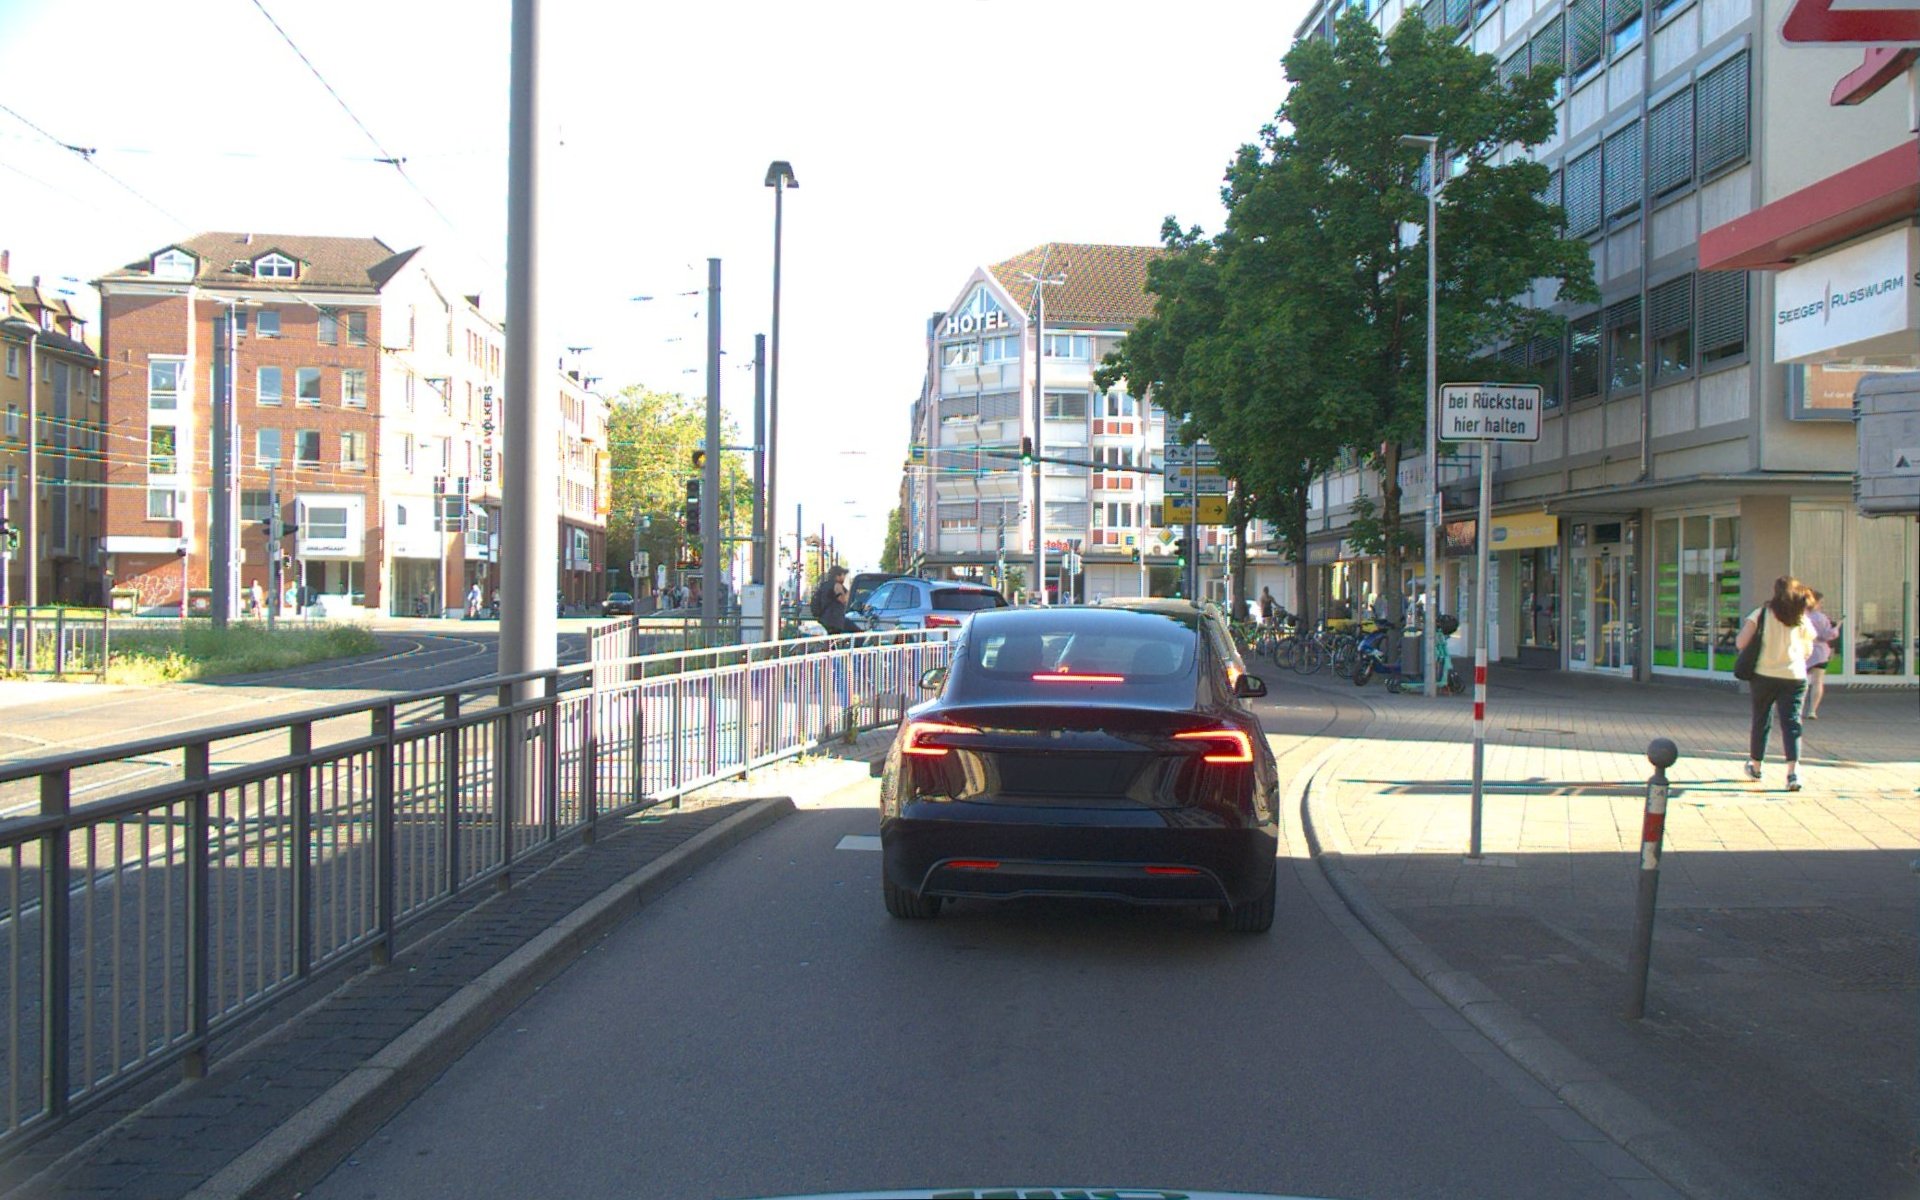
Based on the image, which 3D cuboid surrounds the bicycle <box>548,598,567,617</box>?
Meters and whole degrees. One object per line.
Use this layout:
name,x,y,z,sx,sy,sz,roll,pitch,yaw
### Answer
bicycle,-23.923,0.446,98.386,0.449,1.112,2.202,1,0,3

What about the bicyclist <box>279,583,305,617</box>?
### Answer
bicyclist,-29.744,-0.008,73.622,0.689,1.496,0.973,0,0,7

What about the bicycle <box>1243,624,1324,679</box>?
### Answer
bicycle,6.705,1.069,34.302,1.620,1.118,0.349,1,-1,-11

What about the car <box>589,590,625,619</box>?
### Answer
car,-22.555,0.282,105.725,1.663,1.762,3.704,1,0,-3

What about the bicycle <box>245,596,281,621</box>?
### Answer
bicycle,-28.392,0.328,67.403,0.513,0.988,2.246,1,0,-1

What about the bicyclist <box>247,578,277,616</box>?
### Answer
bicyclist,-28.399,-0.103,67.318,0.880,1.529,0.696,1,-1,-1

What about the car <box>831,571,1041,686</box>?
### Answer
car,-0.476,0.425,26.512,1.859,1.691,4.125,1,0,-25

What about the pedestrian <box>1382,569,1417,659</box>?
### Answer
pedestrian,10.127,0.326,38.107,0.648,2.049,0.579,1,-1,1

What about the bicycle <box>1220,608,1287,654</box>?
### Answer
bicycle,7.358,0.776,41.482,1.616,1.118,0.350,0,0,1

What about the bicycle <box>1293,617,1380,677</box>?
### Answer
bicycle,7.276,0.909,31.965,1.620,1.118,0.349,1,-1,-11

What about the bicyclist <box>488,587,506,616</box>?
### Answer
bicyclist,-26.115,0.083,93.274,0.768,1.590,0.746,0,0,0

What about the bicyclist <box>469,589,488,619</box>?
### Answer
bicyclist,-25.833,0.192,88.676,0.767,1.590,0.746,1,-1,1

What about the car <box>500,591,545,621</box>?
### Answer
car,-23.398,0.309,88.580,1.677,1.553,4.031,1,0,-5

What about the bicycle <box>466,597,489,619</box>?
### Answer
bicycle,-25.885,0.429,88.723,0.526,1.107,2.225,1,0,1

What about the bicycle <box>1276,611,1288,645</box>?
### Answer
bicycle,10.153,0.890,52.178,0.325,1.052,1.257,1,0,9

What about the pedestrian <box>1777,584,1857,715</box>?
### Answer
pedestrian,11.389,0.645,22.000,0.871,1.696,0.808,1,-1,23

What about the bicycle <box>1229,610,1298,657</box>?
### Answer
bicycle,7.424,0.819,40.437,1.616,1.118,0.350,1,-1,1

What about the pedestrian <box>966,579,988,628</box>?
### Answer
pedestrian,0.726,0.159,70.097,0.902,2.049,0.972,1,-1,-1

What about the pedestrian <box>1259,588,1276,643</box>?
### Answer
pedestrian,9.815,0.491,52.747,0.515,1.740,0.404,1,-1,12

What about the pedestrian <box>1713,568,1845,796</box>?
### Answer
pedestrian,6.714,0.637,13.616,0.895,1.783,1.038,0,0,22

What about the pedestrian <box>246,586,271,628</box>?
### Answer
pedestrian,-31.944,0.318,75.325,0.767,1.852,0.746,1,-1,1

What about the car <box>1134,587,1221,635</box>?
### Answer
car,7.849,0.395,59.431,1.787,1.643,3.819,1,0,30

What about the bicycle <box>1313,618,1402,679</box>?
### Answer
bicycle,7.476,0.917,31.123,1.620,1.118,0.349,1,-1,-11

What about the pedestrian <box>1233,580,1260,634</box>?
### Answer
pedestrian,9.088,0.220,52.520,0.685,1.691,0.777,1,-1,-1

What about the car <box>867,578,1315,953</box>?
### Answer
car,0.670,0.676,8.712,1.791,1.481,4.002,1,0,4

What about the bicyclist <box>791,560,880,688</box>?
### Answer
bicyclist,-1.674,0.315,22.164,0.753,1.657,0.964,1,-1,-39

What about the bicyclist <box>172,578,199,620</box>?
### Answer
bicyclist,-28.274,-0.029,60.403,0.620,1.529,0.696,1,-1,-1

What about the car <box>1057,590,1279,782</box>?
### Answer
car,1.829,0.663,15.008,1.714,1.480,4.003,1,0,6

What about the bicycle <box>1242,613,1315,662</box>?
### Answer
bicycle,7.379,0.865,38.396,1.616,1.118,0.350,1,-1,1

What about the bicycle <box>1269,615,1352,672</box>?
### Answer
bicycle,7.092,0.886,33.490,1.620,1.118,0.349,1,-1,-11

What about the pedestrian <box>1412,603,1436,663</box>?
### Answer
pedestrian,10.657,0.745,37.989,0.381,1.367,0.513,1,-1,1

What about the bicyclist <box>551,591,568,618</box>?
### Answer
bicyclist,-23.892,0.260,98.658,0.769,1.554,0.589,1,-1,3

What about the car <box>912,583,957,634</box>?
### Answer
car,-0.949,0.328,61.649,1.566,1.809,3.980,1,0,-1

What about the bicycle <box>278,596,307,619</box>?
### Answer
bicycle,-29.707,0.335,73.596,0.396,0.998,1.695,1,0,7

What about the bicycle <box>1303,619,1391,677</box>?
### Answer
bicycle,7.380,0.909,31.543,1.620,1.079,0.349,1,-1,-11

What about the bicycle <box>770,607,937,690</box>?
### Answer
bicycle,-1.422,0.652,22.403,2.313,1.072,0.622,1,-1,-39

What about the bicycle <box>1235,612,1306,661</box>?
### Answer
bicycle,7.395,0.866,39.423,1.616,1.118,0.350,1,-1,1

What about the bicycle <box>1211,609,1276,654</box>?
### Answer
bicycle,7.288,0.801,42.574,1.616,1.118,0.350,1,-1,1

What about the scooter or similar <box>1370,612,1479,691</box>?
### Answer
scooter or similar,7.660,0.838,27.289,1.610,1.236,0.644,1,-1,30

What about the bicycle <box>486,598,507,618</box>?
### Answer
bicycle,-26.130,0.450,93.244,0.518,1.107,2.284,1,0,1

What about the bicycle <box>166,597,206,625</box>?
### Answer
bicycle,-28.278,0.390,60.448,0.437,0.988,2.246,1,0,-1

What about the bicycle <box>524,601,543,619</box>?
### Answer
bicycle,-26.156,0.596,101.453,0.518,1.107,2.225,0,0,1

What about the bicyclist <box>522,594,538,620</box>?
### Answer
bicyclist,-26.202,0.433,100.715,0.767,1.590,0.746,0,0,1

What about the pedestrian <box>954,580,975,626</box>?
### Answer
pedestrian,0.210,0.139,75.054,0.902,2.049,0.972,1,-1,-1

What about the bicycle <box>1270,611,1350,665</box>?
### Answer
bicycle,7.496,0.819,35.445,1.616,1.118,0.350,1,-1,1

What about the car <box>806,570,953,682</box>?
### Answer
car,-1.656,0.486,32.493,1.962,2.049,3.981,0,0,-17

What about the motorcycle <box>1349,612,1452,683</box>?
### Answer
motorcycle,7.807,0.839,29.339,1.673,1.194,0.541,1,-1,-3
